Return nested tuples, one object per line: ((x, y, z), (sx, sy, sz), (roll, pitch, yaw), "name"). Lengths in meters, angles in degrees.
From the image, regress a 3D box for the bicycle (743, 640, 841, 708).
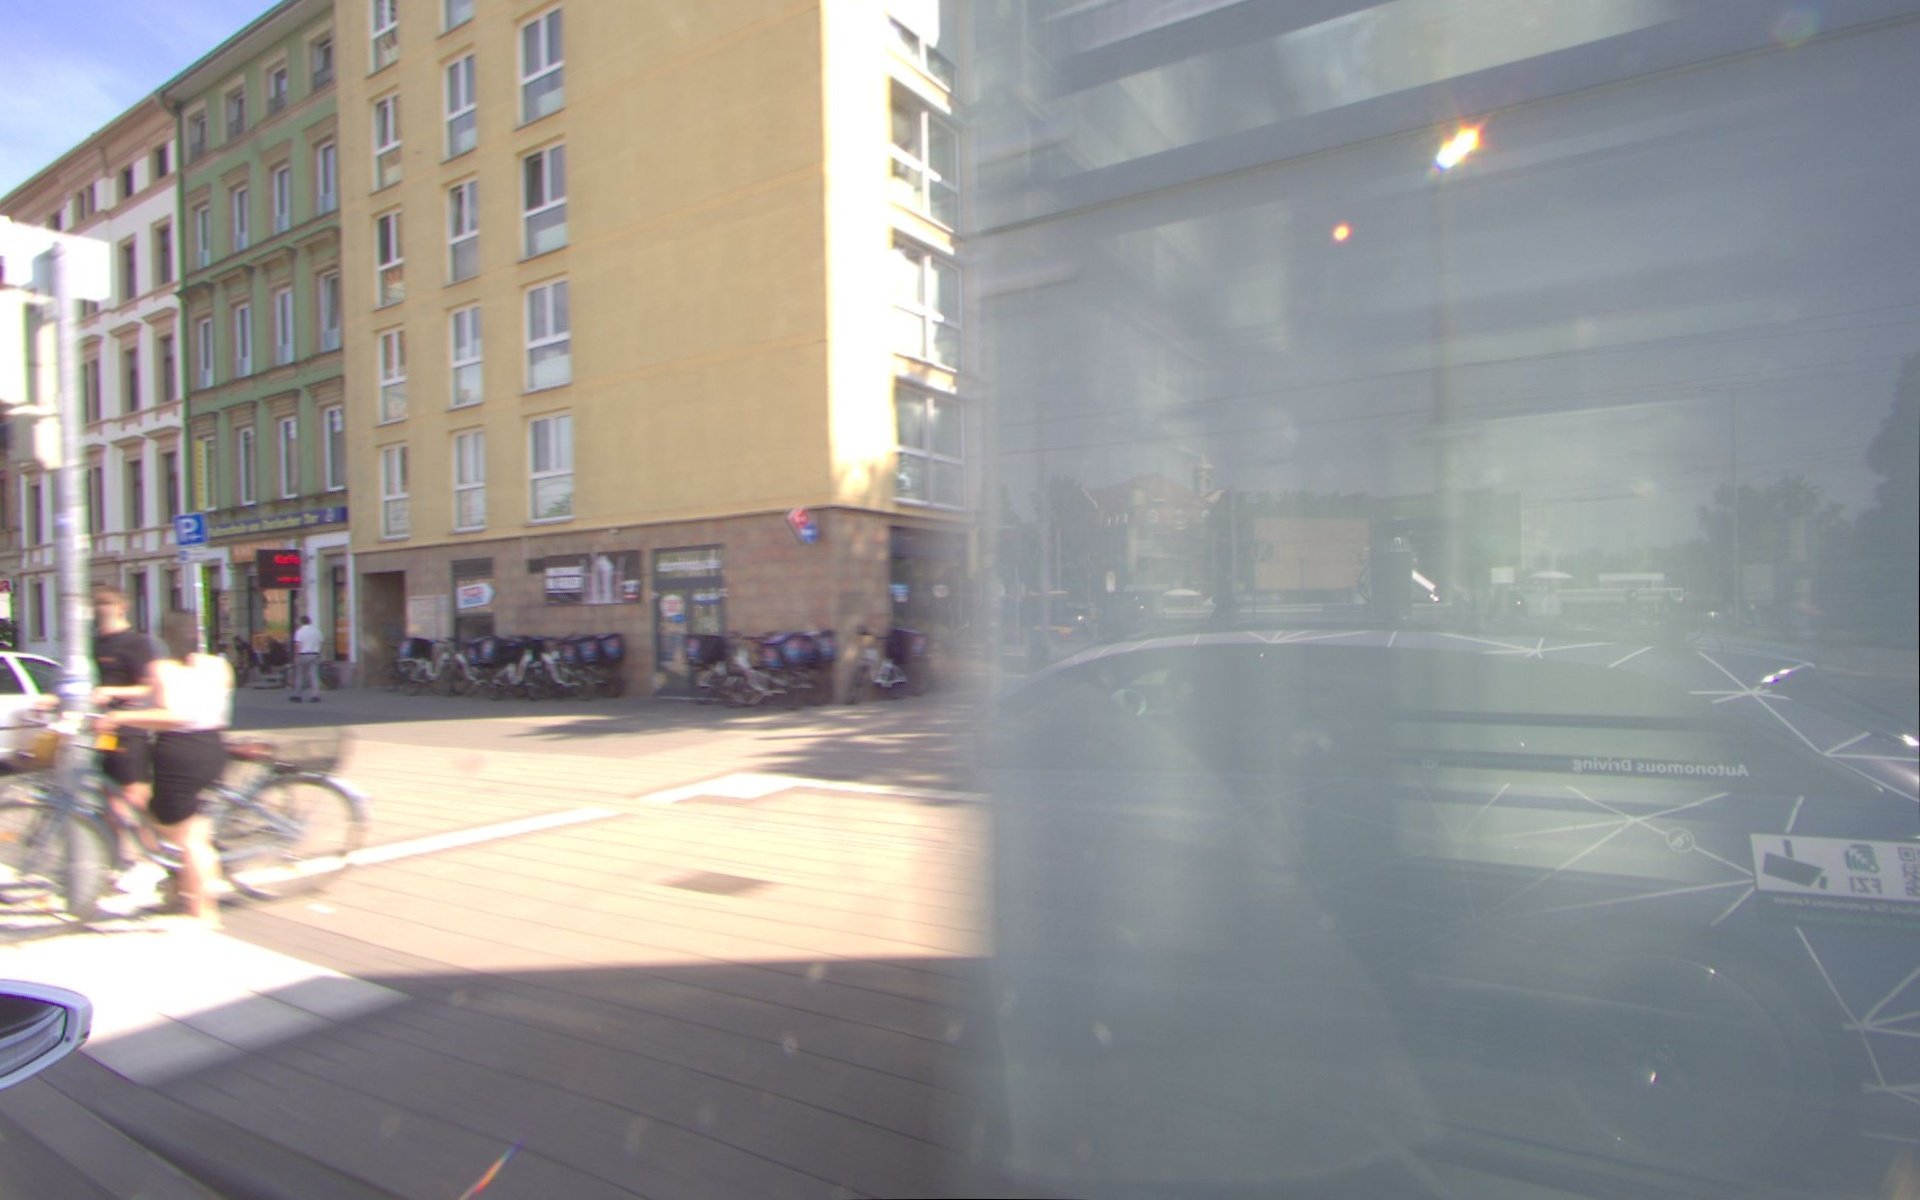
((-2.803, 1.202, 16.619), (1.736, 1.056, 0.579), (-2, 0, 39), "bicycle")

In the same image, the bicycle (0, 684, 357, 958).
((-4.180, 1.053, 5.125), (1.777, 1.145, 0.748), (0, -2, -41), "bicycle")

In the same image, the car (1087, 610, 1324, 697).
((4.583, 0.992, 18.865), (4.035, 1.488, 1.652), (-1, -3, 33), "car")

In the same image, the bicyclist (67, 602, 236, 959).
((-3.991, 0.821, 4.953), (0.606, 1.592, 0.727), (0, -1, -40), "bicyclist")

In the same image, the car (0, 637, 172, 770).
((-11.513, 1.174, 11.695), (1.779, 1.458, 4.002), (0, -3, -7), "car")

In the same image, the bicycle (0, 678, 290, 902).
((-5.243, 1.101, 6.187), (0.575, 1.145, 1.791), (-1, -2, 25), "bicycle")

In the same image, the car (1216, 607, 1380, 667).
((9.314, 0.969, 27.650), (3.942, 1.459, 1.881), (1, 1, 33), "car")

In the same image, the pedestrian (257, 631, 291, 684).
((-18.392, 1.528, 26.853), (0.637, 1.392, 0.524), (-1, 0, 32), "pedestrian")

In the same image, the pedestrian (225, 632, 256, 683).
((-19.706, 1.564, 27.434), (0.522, 1.372, 0.524), (-1, 0, 32), "pedestrian")

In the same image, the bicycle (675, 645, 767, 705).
((-4.194, 1.281, 17.507), (1.735, 0.978, 0.580), (-2, 0, 38), "bicycle")

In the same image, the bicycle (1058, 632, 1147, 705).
((2.392, 1.108, 16.663), (0.577, 1.100, 1.741), (-1, 0, 42), "bicycle")

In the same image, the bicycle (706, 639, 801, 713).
((-3.376, 1.205, 16.276), (1.739, 1.100, 0.578), (-2, 2, 45), "bicycle")

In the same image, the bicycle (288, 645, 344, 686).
((-16.246, 1.646, 25.260), (1.754, 0.977, 0.412), (-2, 2, 31), "bicycle")

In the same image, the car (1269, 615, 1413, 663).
((11.906, 1.184, 31.333), (3.942, 1.287, 1.734), (1, 1, 33), "car")

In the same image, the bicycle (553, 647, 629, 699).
((-7.215, 1.407, 19.551), (1.736, 0.928, 0.579), (-2, 0, 40), "bicycle")

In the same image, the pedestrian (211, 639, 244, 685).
((-19.329, 1.625, 26.417), (0.522, 1.183, 0.524), (-1, 0, 32), "pedestrian")

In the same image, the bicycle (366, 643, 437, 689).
((-12.848, 1.514, 23.027), (1.754, 0.977, 0.581), (-2, 2, 31), "bicycle")

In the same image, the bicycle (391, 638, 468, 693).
((-11.467, 1.405, 21.626), (1.794, 1.109, 0.581), (-2, 2, 31), "bicycle")

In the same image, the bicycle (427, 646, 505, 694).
((-10.366, 1.453, 21.001), (1.731, 0.940, 0.581), (-2, 2, 31), "bicycle")

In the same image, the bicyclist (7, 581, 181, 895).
((-5.192, 0.789, 6.020), (0.575, 1.757, 0.615), (-1, -1, 26), "bicyclist")

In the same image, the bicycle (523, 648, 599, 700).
((-7.671, 1.400, 19.224), (1.736, 0.928, 0.579), (-2, 0, 40), "bicycle")

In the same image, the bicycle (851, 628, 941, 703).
((-1.088, 1.116, 17.528), (0.534, 1.201, 1.879), (-1, 0, 34), "bicycle")

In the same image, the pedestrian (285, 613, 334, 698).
((-13.847, 1.173, 21.313), (0.693, 1.768, 0.608), (-1, 0, 32), "pedestrian")

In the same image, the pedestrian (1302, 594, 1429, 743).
((4.146, 0.677, 10.239), (1.101, 1.423, 0.653), (-1, 3, 31), "pedestrian")

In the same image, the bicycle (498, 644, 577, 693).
((-8.609, 1.378, 20.392), (1.732, 0.928, 0.581), (-2, 0, 33), "bicycle")

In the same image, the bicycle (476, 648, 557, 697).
((-8.830, 1.428, 19.914), (1.731, 0.928, 0.581), (-2, 0, 31), "bicycle")

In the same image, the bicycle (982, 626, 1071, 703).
((1.154, 1.073, 17.045), (0.577, 1.235, 1.742), (-1, -2, 42), "bicycle")

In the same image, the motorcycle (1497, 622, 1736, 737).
((6.848, 0.780, 10.560), (0.632, 1.076, 2.026), (-1, 0, -33), "motorcycle")

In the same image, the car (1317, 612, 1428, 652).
((15.765, 1.191, 38.319), (3.682, 1.358, 1.734), (1, 1, 33), "car")
